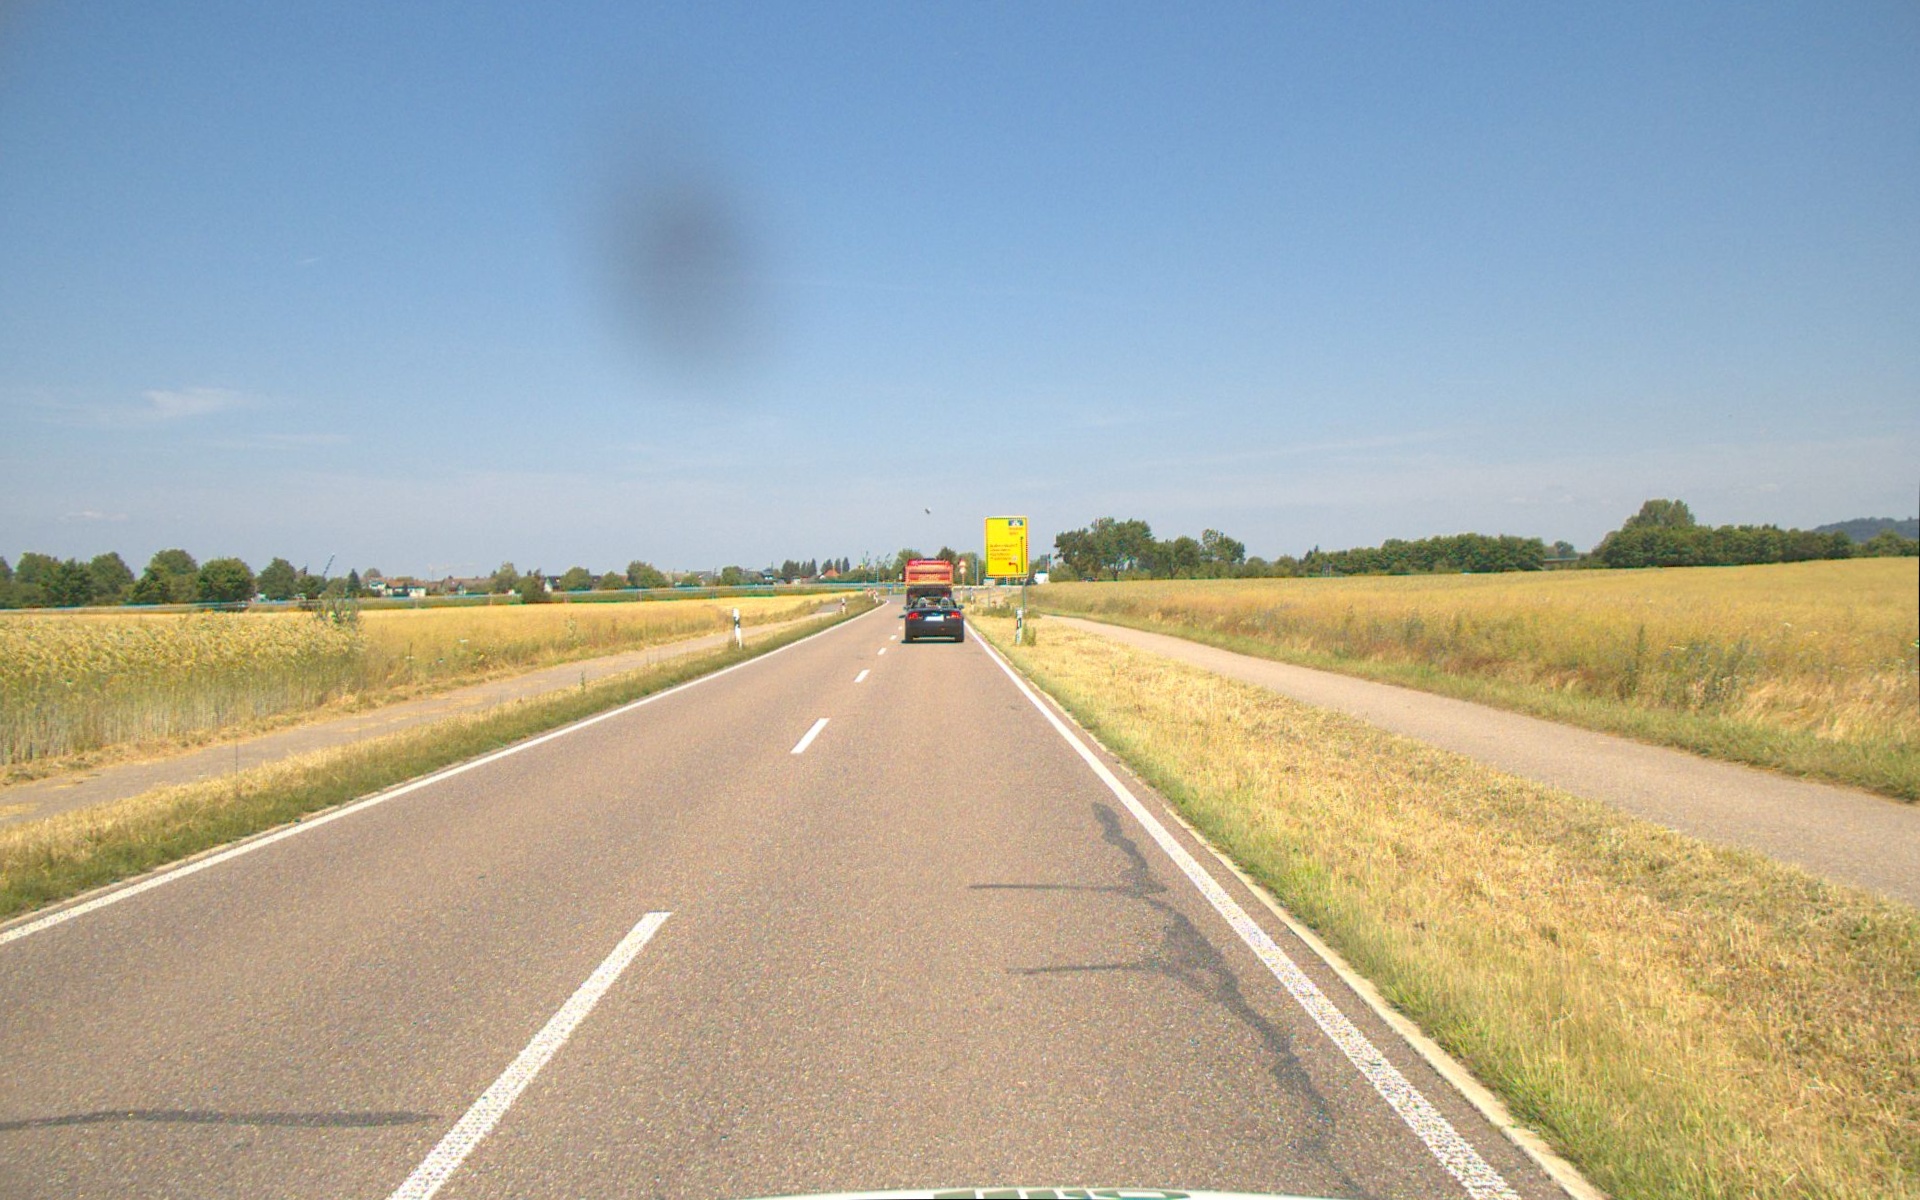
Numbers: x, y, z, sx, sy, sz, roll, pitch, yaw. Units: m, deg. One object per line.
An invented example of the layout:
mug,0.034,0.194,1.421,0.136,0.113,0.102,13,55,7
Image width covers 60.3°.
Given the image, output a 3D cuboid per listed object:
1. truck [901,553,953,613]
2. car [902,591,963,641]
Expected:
truck,-1.802,-0.853,90.089,2.659,3.106,8.162,0,0,-1
car,-0.815,0.465,48.521,1.712,1.400,3.678,1,0,-1
